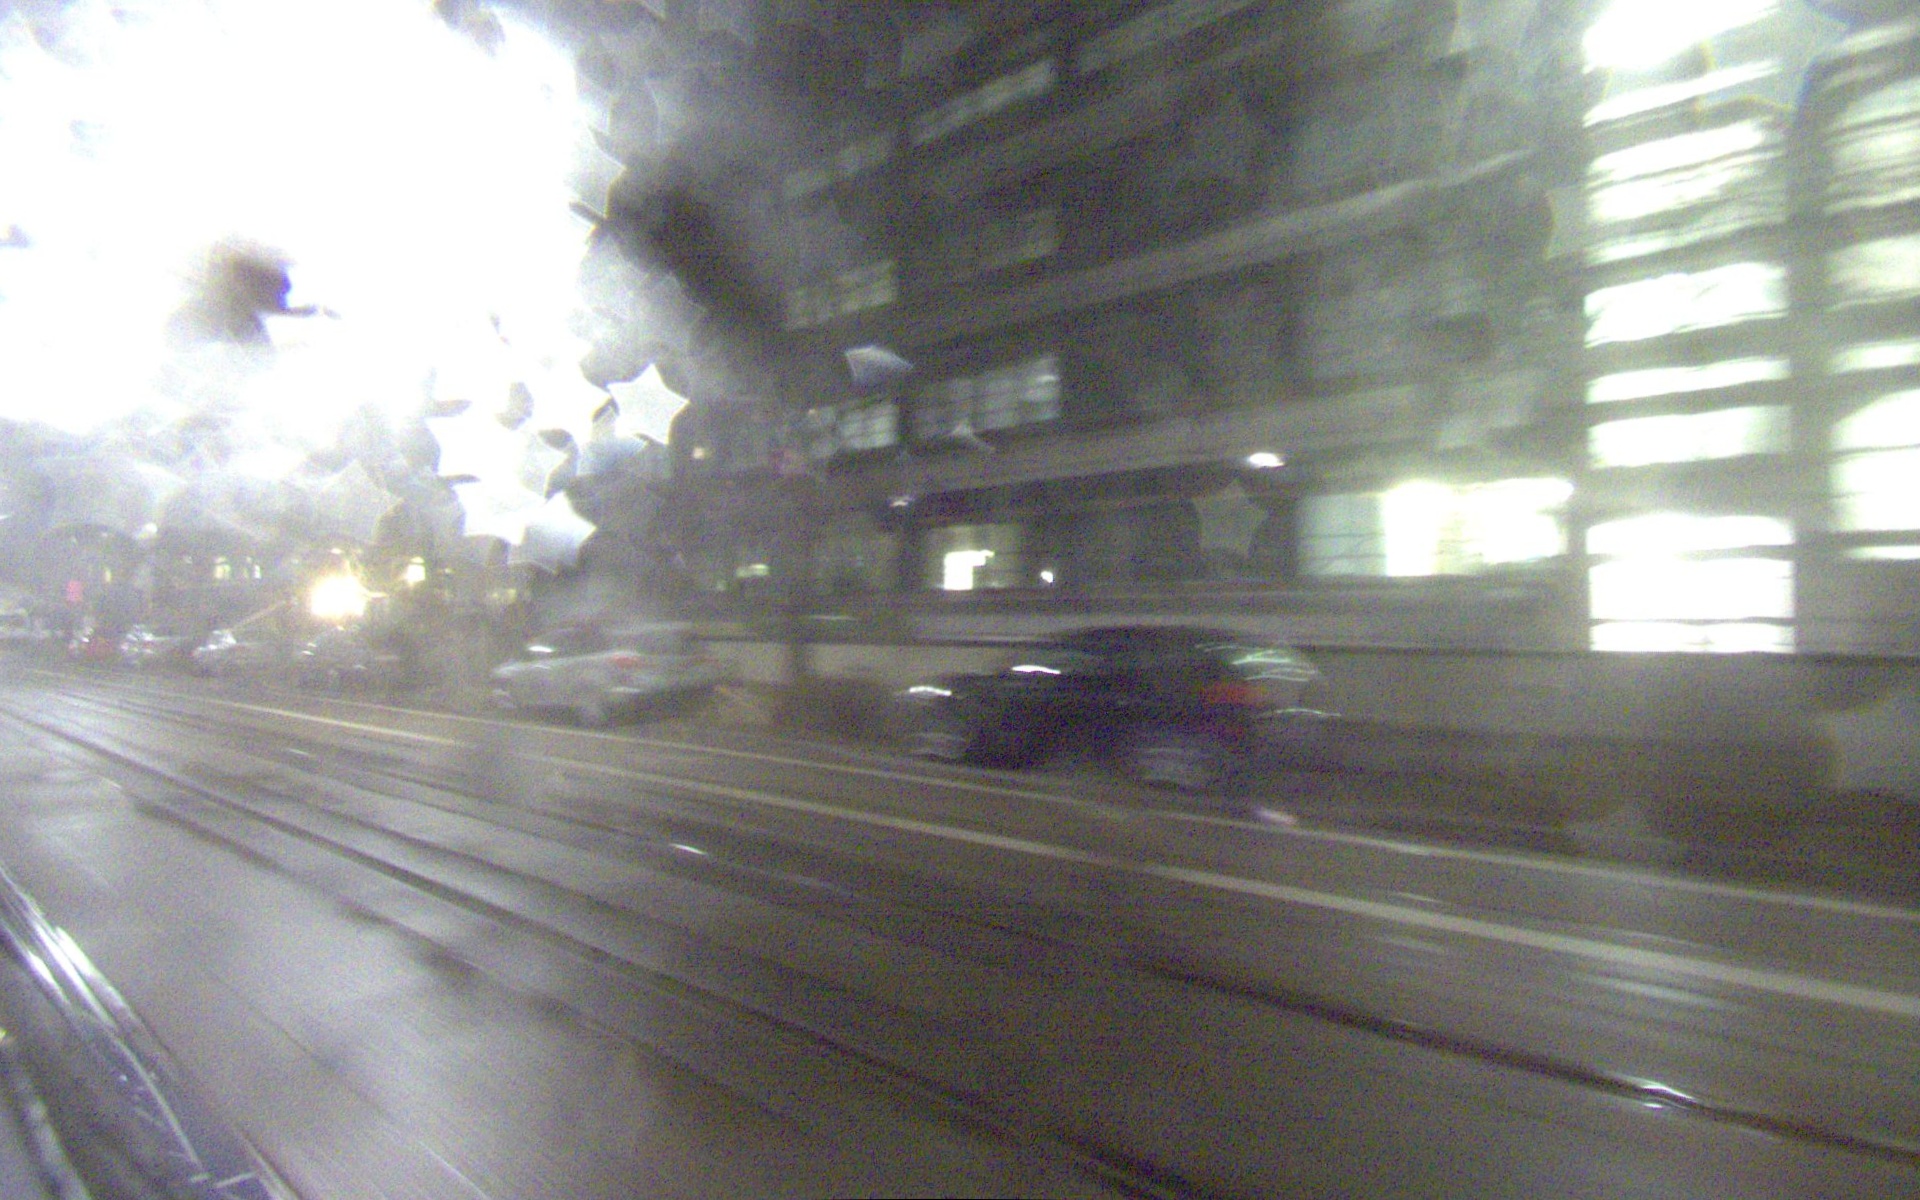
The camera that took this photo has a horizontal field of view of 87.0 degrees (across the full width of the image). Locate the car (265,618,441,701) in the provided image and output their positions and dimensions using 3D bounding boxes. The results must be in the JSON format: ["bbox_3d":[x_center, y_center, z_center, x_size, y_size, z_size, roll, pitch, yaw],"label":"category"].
[{"bbox_3d":[-14.198,1.292,23.566,4.586,1.631,2.122,-1,1,40],"label":"car"}]

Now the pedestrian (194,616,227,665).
[{"bbox_3d":[-29.721,1.585,40.148,1.290,1.916,0.784,-1,-1,41],"label":"pedestrian"}]

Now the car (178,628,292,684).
[{"bbox_3d":[-21.321,1.587,29.694,4.623,1.449,1.713,-1,-1,41],"label":"car"}]

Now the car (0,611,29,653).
[{"bbox_3d":[-61.344,2.056,64.409,5.253,2.527,2.221,-1,1,38],"label":"car"}]

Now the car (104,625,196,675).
[{"bbox_3d":[-29.347,1.761,36.618,4.350,1.590,1.791,-2,1,41],"label":"car"}]

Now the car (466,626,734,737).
[{"bbox_3d":[-5.756,1.168,15.926,4.600,1.451,1.757,-1,0,37],"label":"car"}]

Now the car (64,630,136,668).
[{"bbox_3d":[-36.199,2.010,42.585,3.948,1.467,1.701,-1,-1,40],"label":"car"}]

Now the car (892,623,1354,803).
[{"bbox_3d":[1.489,0.948,10.077,4.203,1.434,1.822,-1,-2,38],"label":"car"}]
